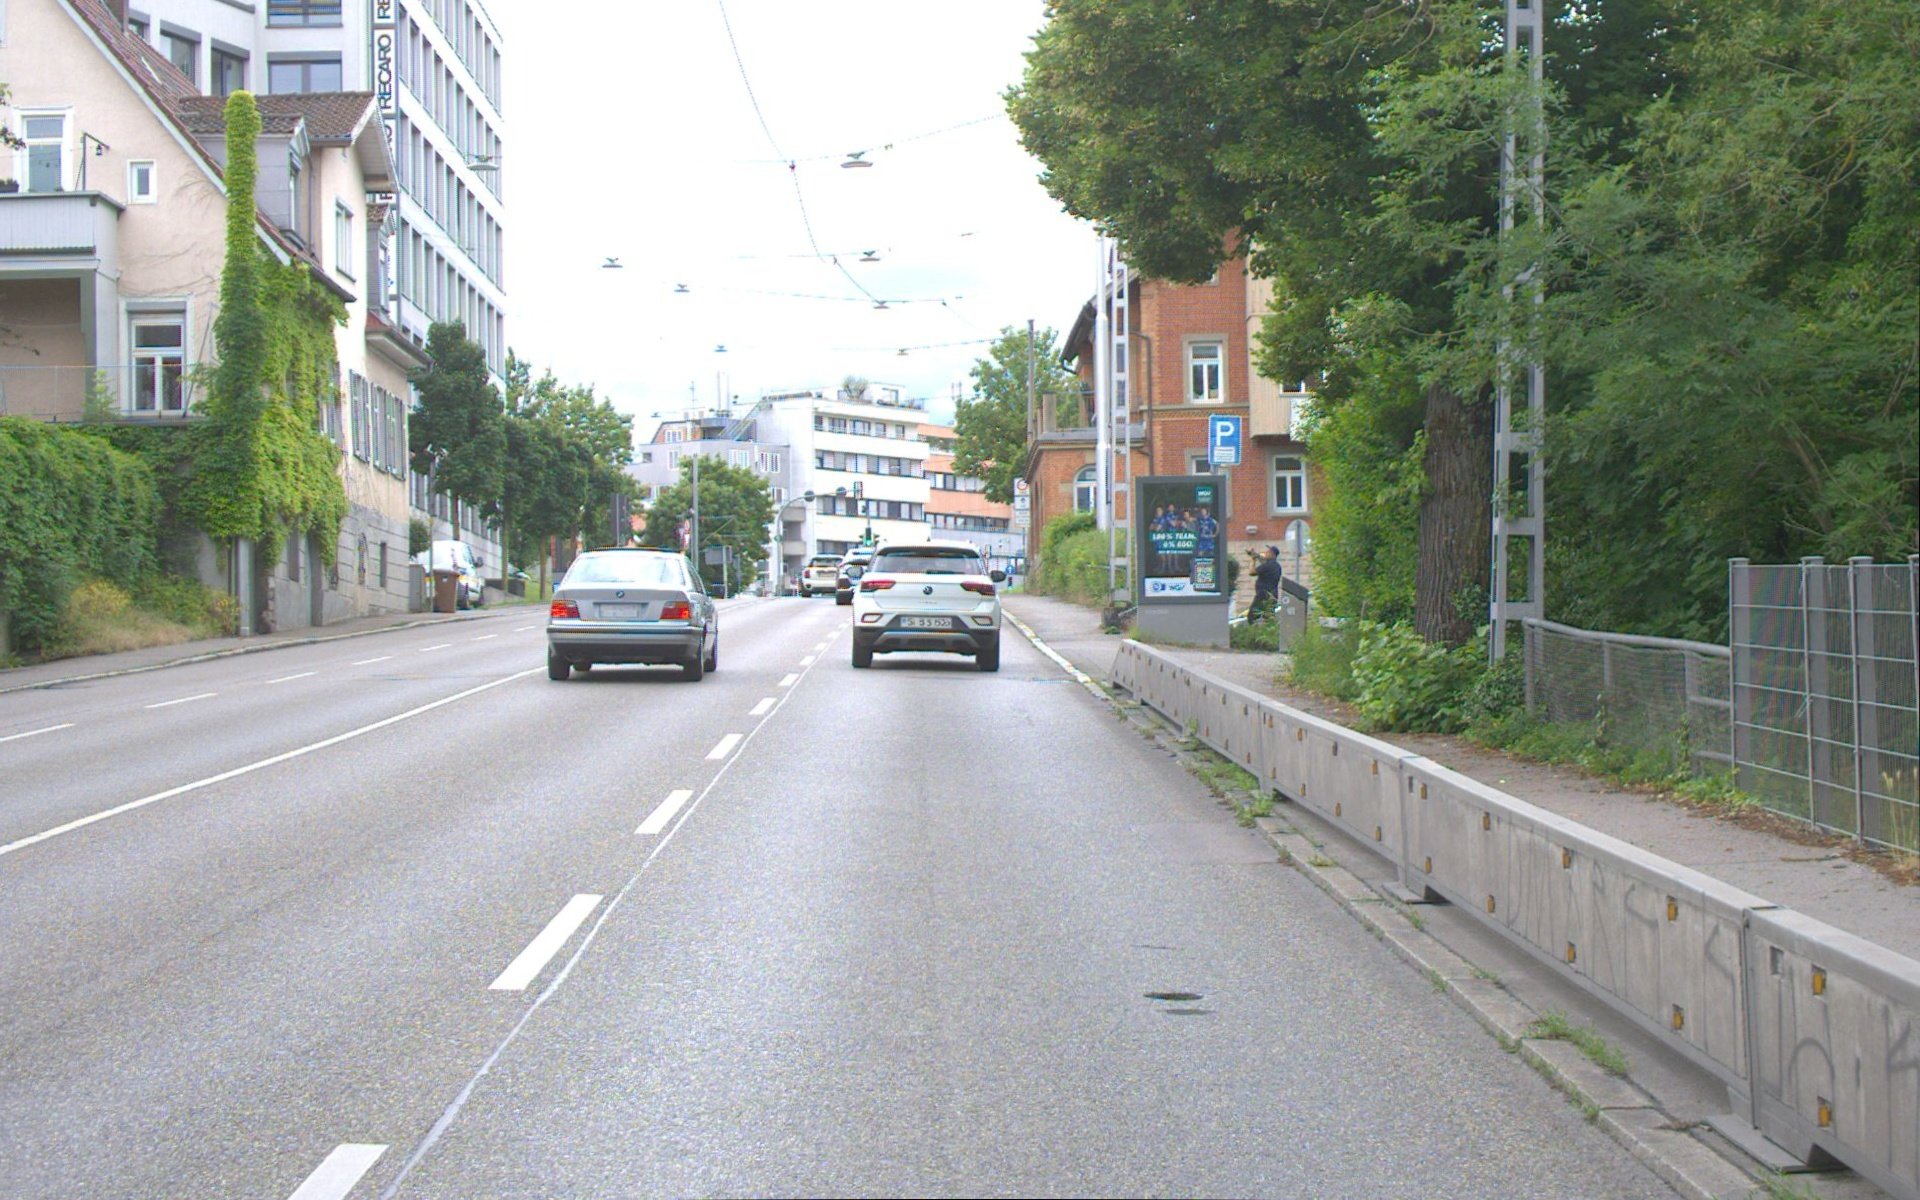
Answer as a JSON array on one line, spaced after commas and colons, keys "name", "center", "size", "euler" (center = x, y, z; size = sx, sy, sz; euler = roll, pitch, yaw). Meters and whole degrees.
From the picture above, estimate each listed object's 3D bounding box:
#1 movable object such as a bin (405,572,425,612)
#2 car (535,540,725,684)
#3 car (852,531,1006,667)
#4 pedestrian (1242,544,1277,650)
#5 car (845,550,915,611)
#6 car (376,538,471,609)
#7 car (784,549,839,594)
[{"name": "movable object such as a bin", "center": [-13.080, -0.191, 82.486], "size": [0.426, 0.962, 0.359], "euler": [1, -1, -3]}, {"name": "car", "center": [-3.521, 0.089, 37.257], "size": [1.706, 1.459, 4.000], "euler": [0, 1, -1]}, {"name": "car", "center": [-0.421, -0.040, 42.231], "size": [1.780, 1.573, 4.000], "euler": [1, 1, -2]}, {"name": "pedestrian", "center": [4.902, -0.052, 56.303], "size": [0.509, 1.711, 0.465], "euler": [-1, 1, -2]}, {"name": "car", "center": [-2.007, -0.507, 86.899], "size": [1.706, 1.459, 4.000], "euler": [0, 1, -1]}, {"name": "car", "center": [-13.264, -0.679, 85.167], "size": [1.993, 1.695, 4.001], "euler": [-1, 1, -4]}, {"name": "car", "center": [-4.983, -0.964, 115.444], "size": [1.706, 1.459, 4.000], "euler": [0, 1, -1]}]
